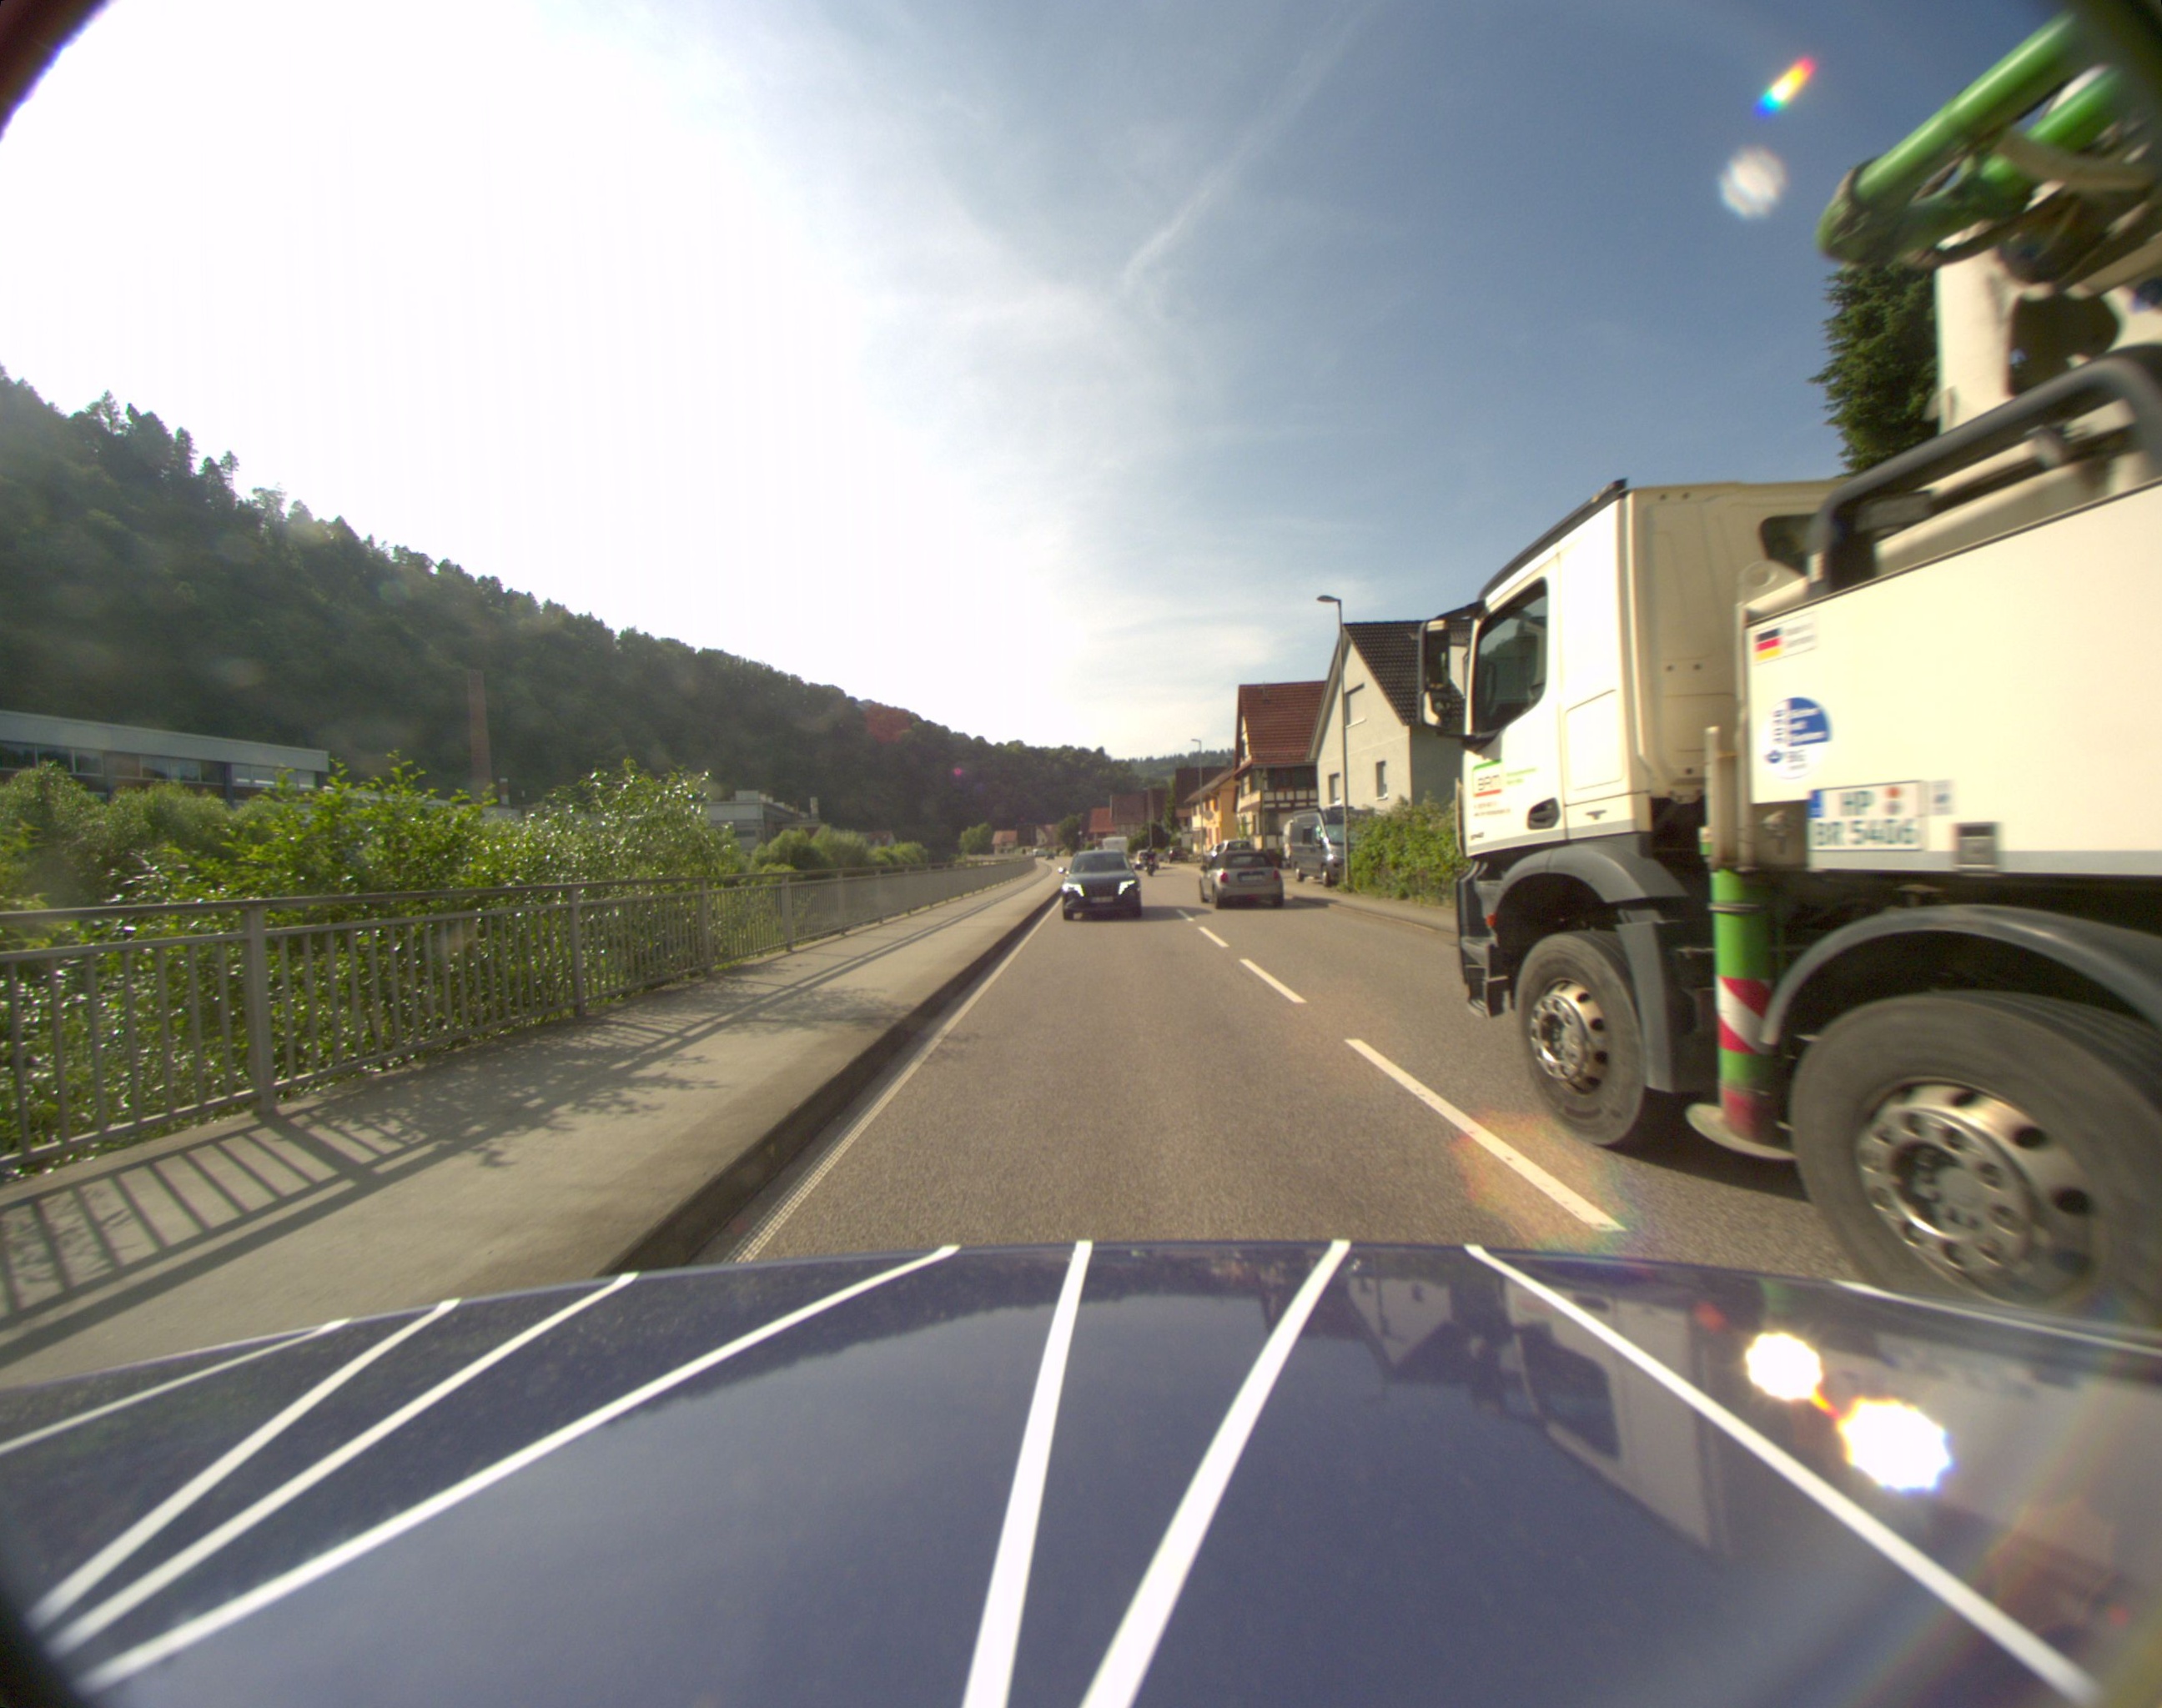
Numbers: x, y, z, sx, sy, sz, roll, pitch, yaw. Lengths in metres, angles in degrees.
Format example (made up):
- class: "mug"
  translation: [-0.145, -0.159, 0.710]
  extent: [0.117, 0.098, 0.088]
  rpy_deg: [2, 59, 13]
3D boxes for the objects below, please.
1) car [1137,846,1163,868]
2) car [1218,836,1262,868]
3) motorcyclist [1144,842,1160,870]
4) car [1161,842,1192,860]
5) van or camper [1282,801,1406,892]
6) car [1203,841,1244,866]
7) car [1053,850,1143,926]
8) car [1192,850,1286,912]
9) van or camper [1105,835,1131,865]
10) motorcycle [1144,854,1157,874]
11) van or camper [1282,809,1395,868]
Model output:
- class: "car"
  translation: [5.199, 0.195, 57.123]
  extent: [1.633, 1.476, 4.002]
  rpy_deg: [-4, 1, 9]
- class: "car"
  translation: [9.215, -0.142, 44.314]
  extent: [1.905, 1.655, 4.268]
  rpy_deg: [-3, 1, 5]
- class: "motorcyclist"
  translation: [4.074, 0.118, 43.749]
  extent: [0.827, 1.549, 0.628]
  rpy_deg: [-2, 2, 5]
- class: "car"
  translation: [8.649, -0.275, 69.230]
  extent: [1.889, 1.510, 4.234]
  rpy_deg: [-4, 1, -4]
- class: "van or camper"
  translation: [8.476, -0.252, 25.163]
  extent: [2.153, 2.540, 5.901]
  rpy_deg: [-3, 1, 2]
- class: "car"
  translation: [9.459, -0.048, 50.709]
  extent: [1.889, 1.510, 4.093]
  rpy_deg: [-2, 0, 0]
- class: "car"
  translation: [0.318, 0.760, 19.162]
  extent: [1.650, 1.639, 3.997]
  rpy_deg: [-3, 1, -6]
- class: "car"
  translation: [4.125, 0.644, 20.450]
  extent: [1.718, 1.395, 3.999]
  rpy_deg: [-3, 1, 1]
- class: "van or camper"
  translation: [3.916, -0.396, 81.460]
  extent: [2.201, 2.921, 7.126]
  rpy_deg: [-4, 0, 0]
- class: "motorcycle"
  translation: [4.003, 0.577, 43.925]
  extent: [0.655, 1.062, 2.182]
  rpy_deg: [-2, 1, 4]
- class: "van or camper"
  translation: [13.458, -0.793, 40.015]
  extent: [5.186, 2.648, 2.193]
  rpy_deg: [-4, 1, 8]
